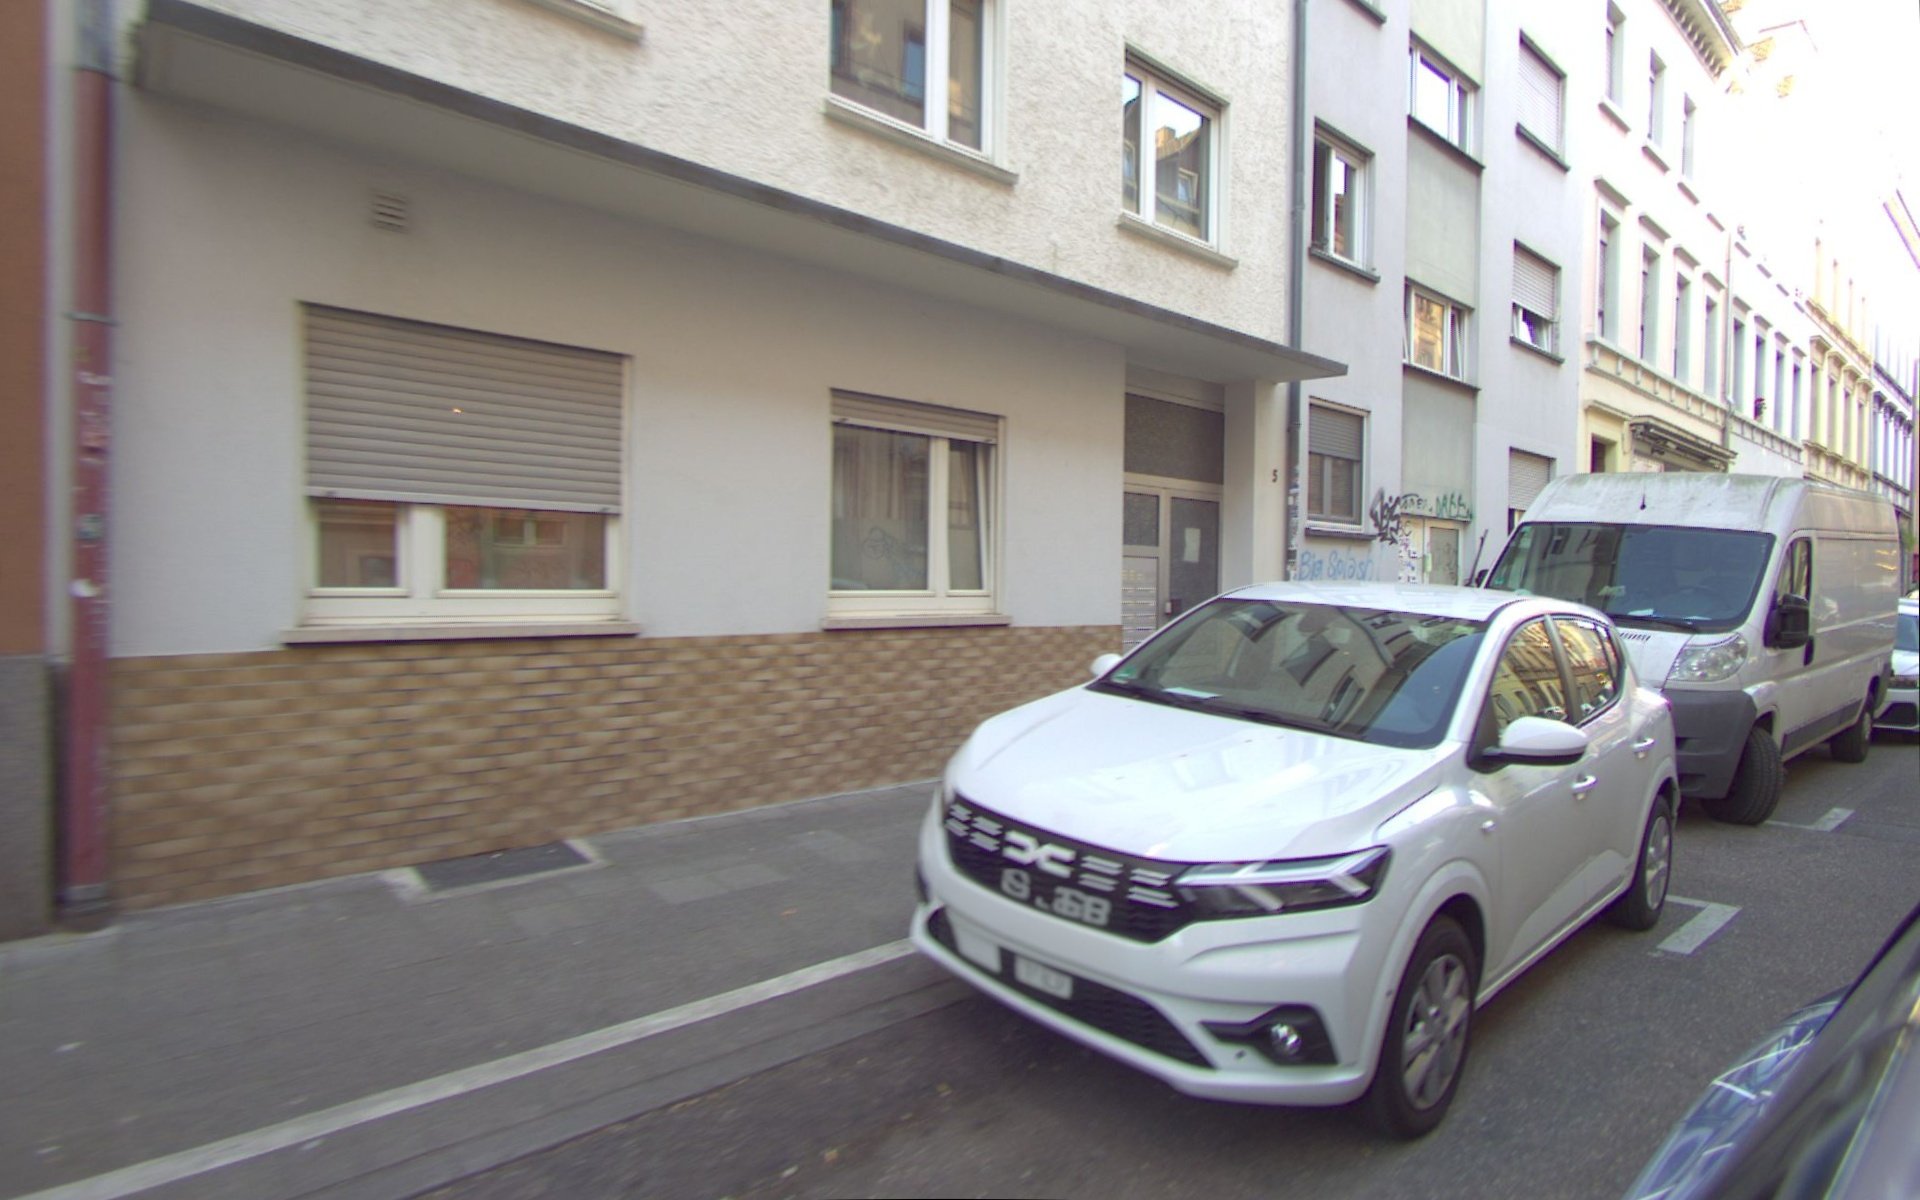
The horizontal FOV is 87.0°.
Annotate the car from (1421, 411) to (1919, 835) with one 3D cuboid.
[{"bbox_3d":[6.442,0.118,8.740,5.914,2.545,2.049,0,0,-39],"label":"car"}]

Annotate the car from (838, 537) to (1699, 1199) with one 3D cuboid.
[{"bbox_3d":[1.536,0.647,4.060,3.796,1.579,1.680,0,0,-44],"label":"car"}]

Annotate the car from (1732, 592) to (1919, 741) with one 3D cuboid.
[{"bbox_3d":[10.427,0.642,11.674,3.792,1.461,1.682,0,0,-41],"label":"car"}]

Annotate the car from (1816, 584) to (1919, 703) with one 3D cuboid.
[{"bbox_3d":[13.997,0.564,14.799,3.792,1.585,1.682,0,0,-41],"label":"car"}]

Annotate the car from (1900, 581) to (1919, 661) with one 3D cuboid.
[{"bbox_3d":[21.584,0.429,21.722,3.793,1.656,1.682,0,0,-41],"label":"car"}]

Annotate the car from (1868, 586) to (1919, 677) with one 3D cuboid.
[{"bbox_3d":[17.750,0.527,18.215,3.793,1.539,1.681,0,0,-42],"label":"car"}]
